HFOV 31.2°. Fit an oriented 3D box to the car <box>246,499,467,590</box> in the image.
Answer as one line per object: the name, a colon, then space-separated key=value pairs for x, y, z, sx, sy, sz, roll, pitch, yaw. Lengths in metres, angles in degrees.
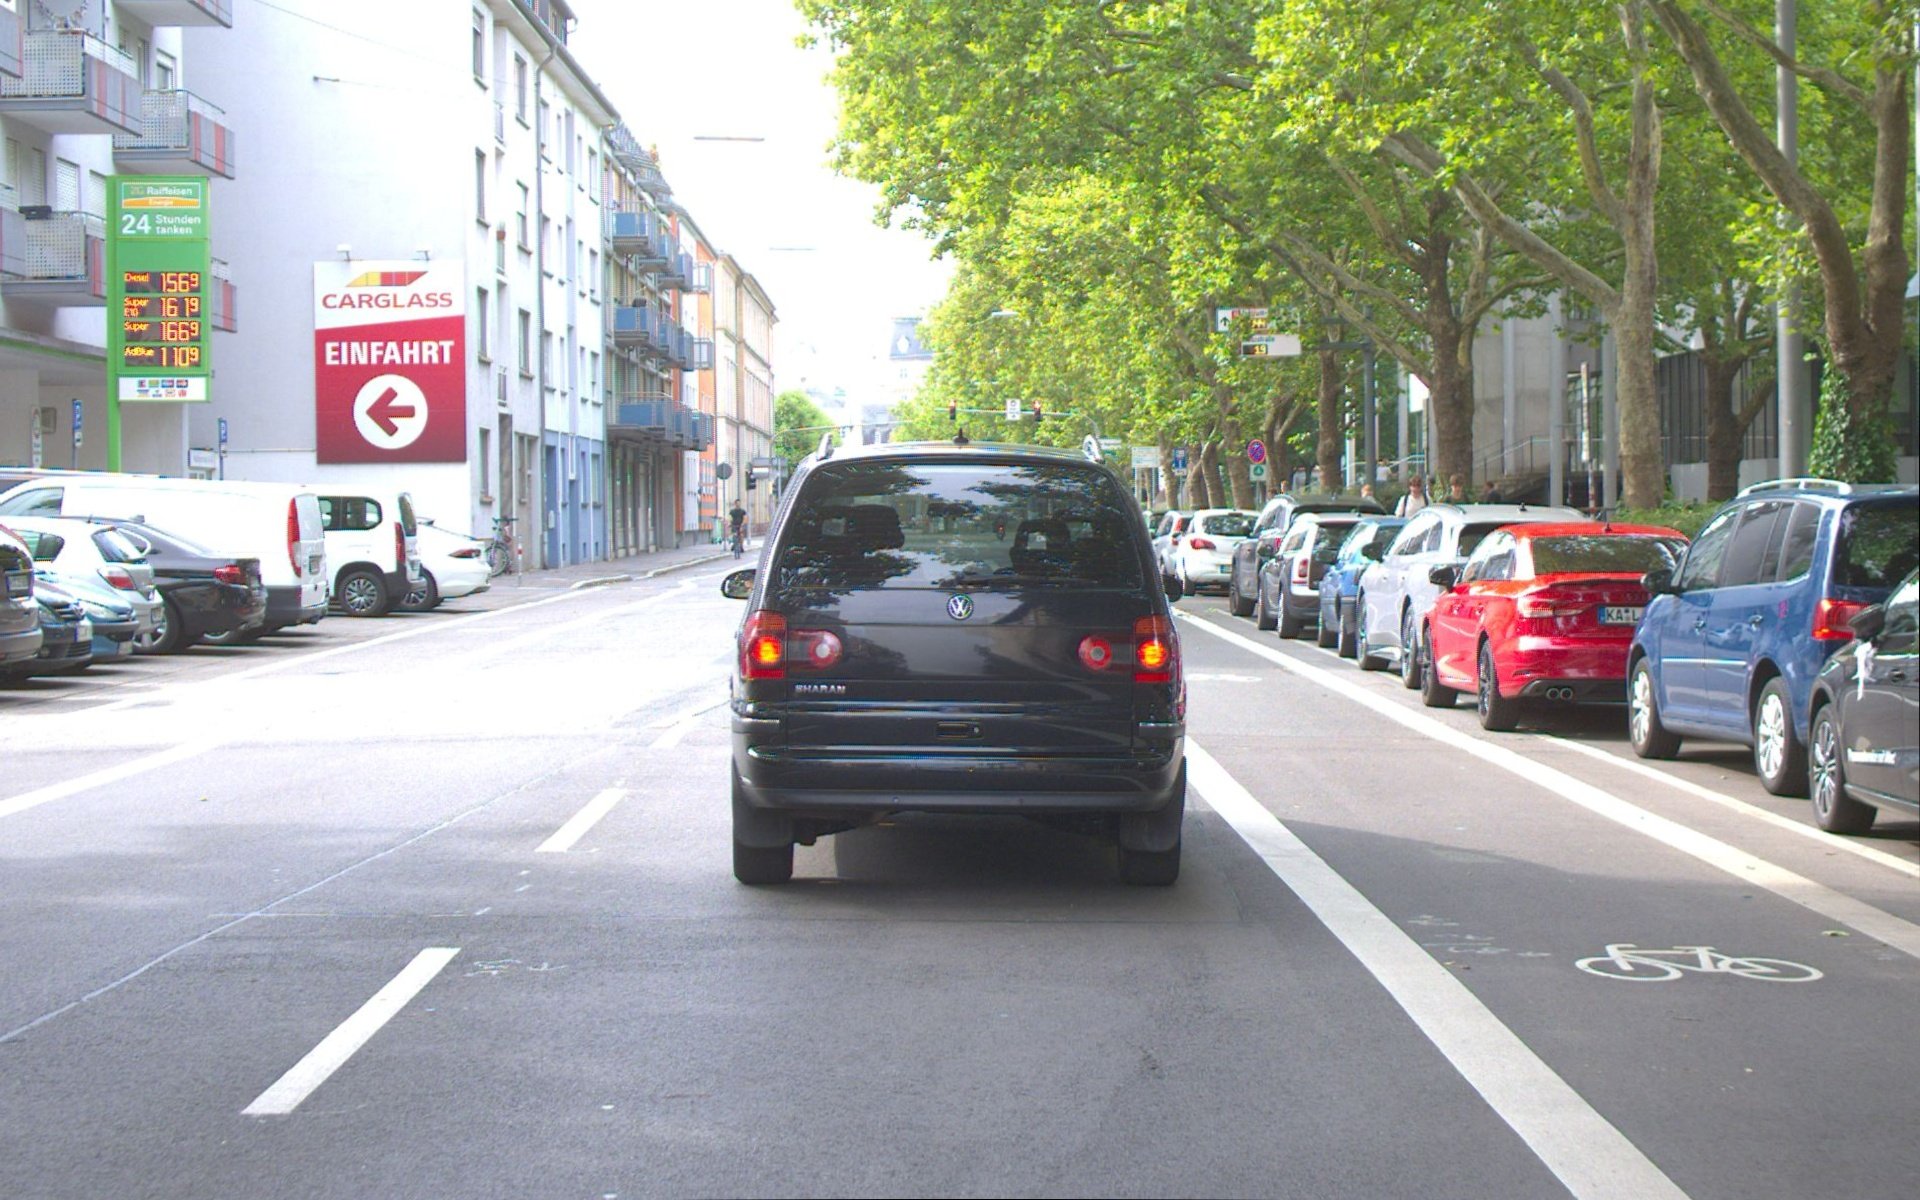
car: x=-9.839 y=-0.911 z=56.192 sx=3.342 sy=1.397 sz=1.504 roll=1 pitch=1 yaw=-2

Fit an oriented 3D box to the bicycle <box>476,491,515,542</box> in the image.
bicycle: x=-9.457 y=-1.707 z=70.105 sx=0.631 sy=1.030 sz=2.016 roll=1 pitch=2 yaw=-4

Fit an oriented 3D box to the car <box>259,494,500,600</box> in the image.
car: x=-8.653 y=-0.793 z=51.393 sx=3.342 sy=1.491 sz=1.596 roll=1 pitch=1 yaw=-2

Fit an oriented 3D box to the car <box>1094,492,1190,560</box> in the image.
car: x=3.920 y=-1.619 z=74.564 sx=1.641 sy=1.408 sz=3.417 roll=1 pitch=2 yaw=-4

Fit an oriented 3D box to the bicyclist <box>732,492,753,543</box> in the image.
bicyclist: x=-6.964 y=-2.644 z=110.024 sx=0.653 sy=1.606 sz=0.656 roll=1 pitch=-1 yaw=-3

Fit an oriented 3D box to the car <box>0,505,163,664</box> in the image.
car: x=-9.700 y=-0.193 z=33.011 sx=3.682 sy=1.421 sz=1.753 roll=2 pitch=2 yaw=-1

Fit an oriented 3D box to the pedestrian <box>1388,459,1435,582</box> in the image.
pedestrian: x=6.806 y=-1.205 z=51.866 sx=0.587 sy=1.832 sz=0.692 roll=1 pitch=3 yaw=1

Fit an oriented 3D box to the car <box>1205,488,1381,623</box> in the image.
car: x=4.320 y=-0.627 z=45.237 sx=1.668 sy=1.635 sz=4.504 roll=2 pitch=2 yaw=-2

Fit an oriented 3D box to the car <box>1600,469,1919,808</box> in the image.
car: x=4.950 y=0.111 z=19.515 sx=1.657 sy=1.645 sz=4.421 roll=-1 pitch=3 yaw=-2

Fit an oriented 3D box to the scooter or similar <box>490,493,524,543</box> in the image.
scooter or similar: x=-9.562 y=-1.735 z=72.592 sx=0.631 sy=1.030 sz=2.016 roll=-1 pitch=2 yaw=-6

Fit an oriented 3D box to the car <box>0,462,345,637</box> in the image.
car: x=-9.584 y=-0.612 z=39.753 sx=4.526 sy=1.872 sz=2.047 roll=2 pitch=2 yaw=1

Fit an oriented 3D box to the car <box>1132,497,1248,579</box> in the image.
car: x=4.188 y=-1.156 z=63.020 sx=1.641 sy=1.408 sz=3.417 roll=1 pitch=2 yaw=-4

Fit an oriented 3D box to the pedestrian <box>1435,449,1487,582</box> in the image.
pedestrian: x=7.525 y=-1.277 z=51.619 sx=0.643 sy=1.968 sz=0.692 roll=1 pitch=3 yaw=1

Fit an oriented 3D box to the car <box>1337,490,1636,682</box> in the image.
car: x=4.455 y=-0.182 z=29.789 sx=1.727 sy=1.511 sz=4.872 roll=1 pitch=2 yaw=-1

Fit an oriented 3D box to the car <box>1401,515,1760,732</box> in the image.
car: x=4.316 y=0.099 z=24.559 sx=1.675 sy=1.389 sz=4.461 roll=0 pitch=2 yaw=-1

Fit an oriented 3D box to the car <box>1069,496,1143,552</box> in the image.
car: x=3.990 y=-2.098 z=94.593 sx=1.641 sy=1.482 sz=3.513 roll=-1 pitch=2 yaw=-4

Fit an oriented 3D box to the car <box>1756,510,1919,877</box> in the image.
car: x=4.694 y=0.368 z=14.622 sx=1.657 sy=1.417 sz=3.947 roll=-1 pitch=3 yaw=-1

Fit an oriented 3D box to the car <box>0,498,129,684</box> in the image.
car: x=-9.636 y=-0.146 z=30.728 sx=3.941 sy=1.564 sz=1.753 roll=2 pitch=2 yaw=2

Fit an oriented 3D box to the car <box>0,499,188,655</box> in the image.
car: x=-9.913 y=-0.277 z=35.065 sx=3.682 sy=1.480 sz=1.754 roll=2 pitch=2 yaw=-1

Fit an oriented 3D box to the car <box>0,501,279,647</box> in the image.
car: x=-9.382 y=-0.309 z=37.154 sx=3.682 sy=1.439 sz=1.753 roll=2 pitch=2 yaw=-1

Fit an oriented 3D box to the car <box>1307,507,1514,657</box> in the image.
car: x=4.576 y=-0.228 z=35.371 sx=1.622 sy=1.381 sz=4.000 roll=2 pitch=2 yaw=1

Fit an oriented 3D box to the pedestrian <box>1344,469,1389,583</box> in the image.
pedestrian: x=6.125 y=-1.118 z=51.832 sx=0.587 sy=1.696 sz=0.508 roll=1 pitch=3 yaw=1

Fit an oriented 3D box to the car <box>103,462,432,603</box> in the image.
car: x=-9.833 y=-0.968 z=49.014 sx=4.307 sy=1.863 sz=1.824 roll=2 pitch=1 yaw=-1

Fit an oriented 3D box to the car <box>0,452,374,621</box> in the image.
car: x=-9.861 y=-0.803 z=42.361 sx=4.916 sy=1.896 sz=2.000 roll=2 pitch=2 yaw=-1

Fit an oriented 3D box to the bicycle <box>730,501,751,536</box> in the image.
bicycle: x=-7.015 y=-2.606 z=109.872 sx=0.631 sy=1.030 sz=2.015 roll=1 pitch=-1 yaw=-3

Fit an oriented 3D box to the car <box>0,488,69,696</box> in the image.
car: x=-9.748 y=-0.126 z=28.391 sx=4.256 sy=1.600 sz=1.968 roll=1 pitch=3 yaw=1

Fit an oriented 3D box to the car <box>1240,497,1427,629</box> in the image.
car: x=4.324 y=-0.474 z=40.318 sx=1.630 sy=1.465 sz=4.318 roll=0 pitch=2 yaw=-1

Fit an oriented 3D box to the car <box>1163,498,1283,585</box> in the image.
car: x=4.440 y=-1.025 z=58.592 sx=1.675 sy=1.389 sz=4.461 roll=1 pitch=2 yaw=0

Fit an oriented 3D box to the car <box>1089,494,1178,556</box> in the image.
car: x=4.033 y=-1.764 z=80.384 sx=1.641 sy=1.390 sz=3.513 roll=-1 pitch=2 yaw=-4

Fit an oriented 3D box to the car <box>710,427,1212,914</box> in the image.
car: x=-0.032 y=0.207 z=14.329 sx=1.812 sy=1.760 sz=3.738 roll=0 pitch=2 yaw=-1

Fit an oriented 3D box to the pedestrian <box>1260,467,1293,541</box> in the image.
pedestrian: x=7.753 y=-2.351 z=84.246 sx=0.767 sy=1.825 sz=0.516 roll=0 pitch=2 yaw=1
